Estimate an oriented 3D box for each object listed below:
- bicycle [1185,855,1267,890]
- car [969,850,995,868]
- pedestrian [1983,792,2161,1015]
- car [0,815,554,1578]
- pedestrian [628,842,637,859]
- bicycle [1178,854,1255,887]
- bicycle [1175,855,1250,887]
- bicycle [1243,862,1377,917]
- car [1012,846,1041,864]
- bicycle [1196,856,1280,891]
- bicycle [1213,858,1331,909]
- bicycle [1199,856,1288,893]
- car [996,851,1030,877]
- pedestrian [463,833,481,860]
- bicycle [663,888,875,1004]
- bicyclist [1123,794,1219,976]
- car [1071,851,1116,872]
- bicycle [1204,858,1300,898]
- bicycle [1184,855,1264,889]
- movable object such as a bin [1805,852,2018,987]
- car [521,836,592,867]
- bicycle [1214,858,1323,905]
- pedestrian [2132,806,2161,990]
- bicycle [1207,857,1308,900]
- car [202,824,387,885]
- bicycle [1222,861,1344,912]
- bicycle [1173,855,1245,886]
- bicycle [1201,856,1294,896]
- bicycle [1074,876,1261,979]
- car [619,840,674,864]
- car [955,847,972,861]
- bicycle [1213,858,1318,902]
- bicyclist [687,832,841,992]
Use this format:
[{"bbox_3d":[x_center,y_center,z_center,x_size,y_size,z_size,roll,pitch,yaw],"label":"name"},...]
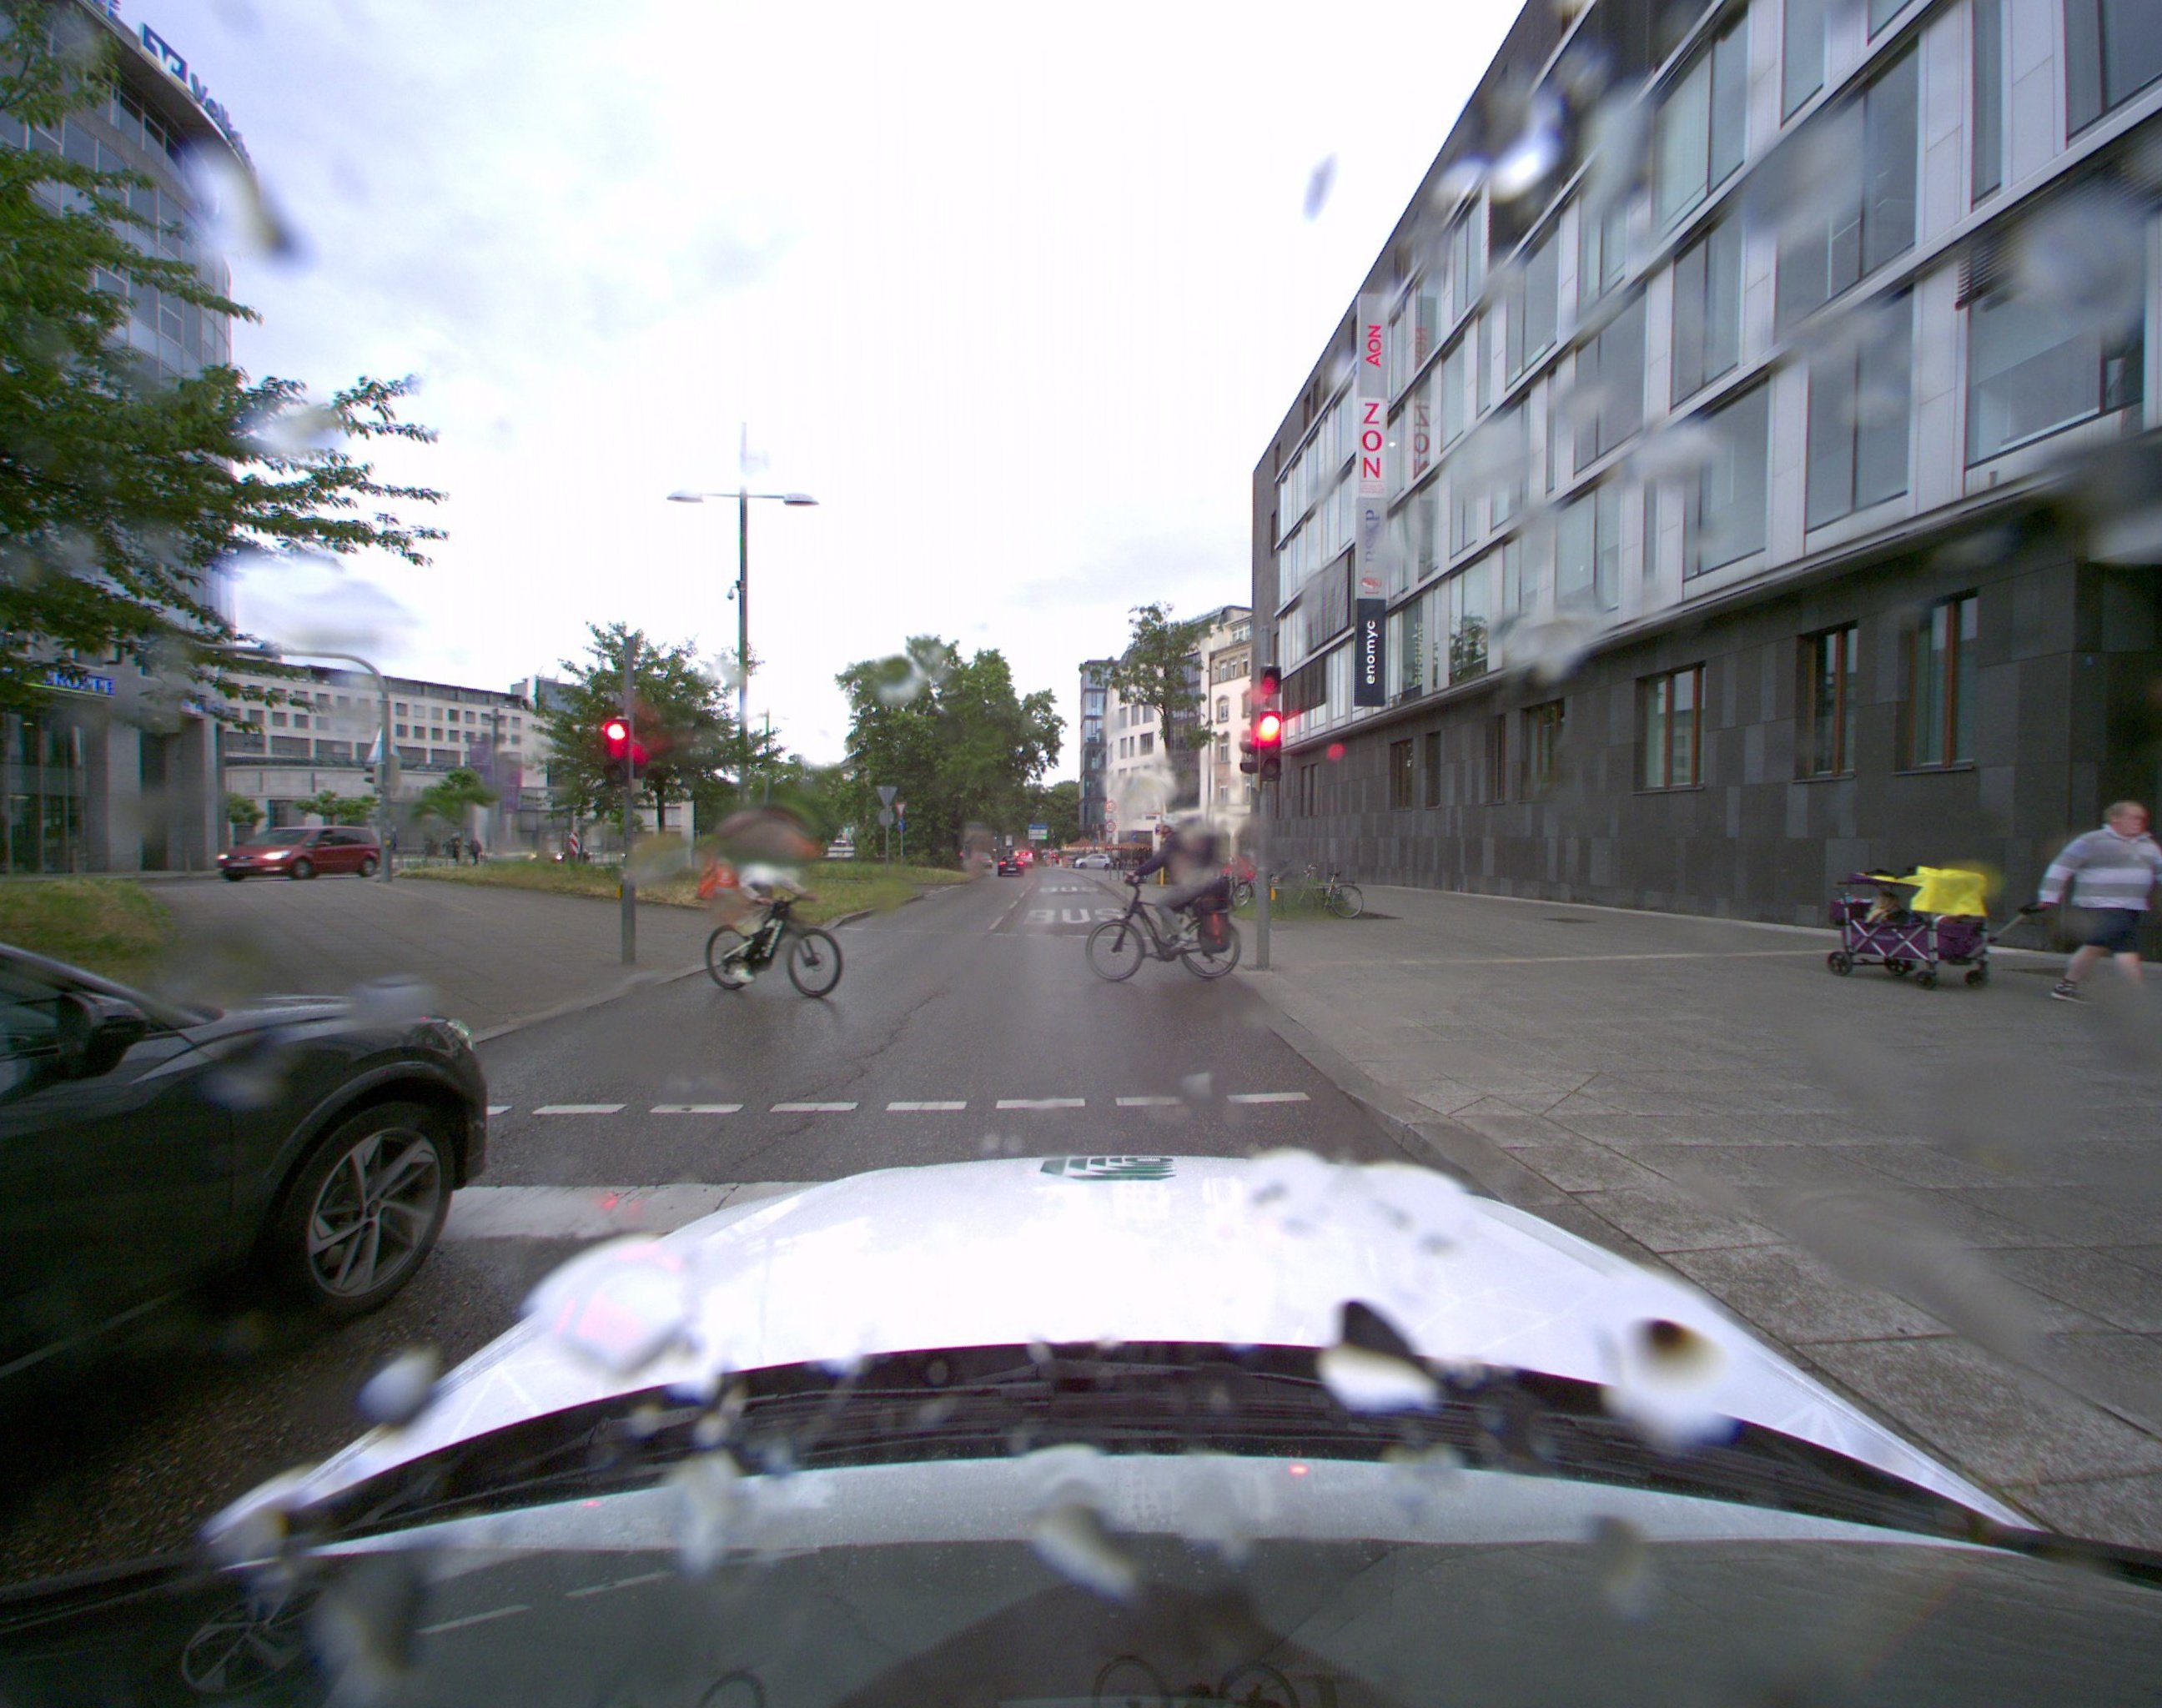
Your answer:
[{"bbox_3d":[4.712,0.602,26.479,2.530,1.087,0.677,-1,0,-3],"label":"bicycle"},{"bbox_3d":[-9.373,0.437,76.646,1.947,1.646,4.226,0,0,-13],"label":"car"},{"bbox_3d":[8.939,0.380,7.120,0.898,1.792,1.045,-2,0,-4],"label":"pedestrian"},{"bbox_3d":[-3.195,0.718,1.408,1.842,1.616,4.250,1,1,-1],"label":"car"},{"bbox_3d":[-52.187,-0.389,94.765,0.792,2.013,0.735,2,0,-22],"label":"pedestrian"},{"bbox_3d":[4.675,0.572,28.122,2.530,1.087,0.677,-1,0,-3],"label":"bicycle"},{"bbox_3d":[4.652,0.584,28.871,2.530,1.087,0.677,-1,0,-3],"label":"bicycle"},{"bbox_3d":[4.622,0.700,16.513,2.530,1.057,0.677,0,0,-3],"label":"bicycle"},{"bbox_3d":[-5.283,0.049,78.277,2.182,1.700,3.982,0,0,-14],"label":"car"},{"bbox_3d":[4.924,0.604,25.634,2.530,1.087,0.677,-1,0,-3],"label":"bicycle"},{"bbox_3d":[4.391,0.670,18.800,2.530,1.087,0.677,2,0,-3],"label":"bicycle"},{"bbox_3d":[4.905,0.607,24.656,2.530,1.087,0.677,-1,0,-3],"label":"bicycle"},{"bbox_3d":[-4.713,0.662,56.023,2.160,1.706,4.543,0,0,-7],"label":"car"},{"bbox_3d":[-39.845,-0.491,53.274,0.621,1.763,0.722,-2,0,-14],"label":"pedestrian"},{"bbox_3d":[-3.413,0.940,8.914,2.041,1.114,1.017,-1,-2,26],"label":"bicycle"},{"bbox_3d":[1.067,0.361,9.729,1.076,2.083,0.764,-1,-1,4],"label":"bicyclist"},{"bbox_3d":[1.141,0.655,76.723,3.978,1.647,1.998,4,0,-3],"label":"car"},{"bbox_3d":[4.717,0.642,22.553,2.530,1.060,0.677,-1,0,-3],"label":"bicycle"},{"bbox_3d":[4.771,0.585,27.231,2.530,1.087,0.677,-1,0,-3],"label":"bicycle"},{"bbox_3d":[8.653,0.631,8.576,0.729,1.264,1.444,-2,0,-1],"label":"movable object such as a bin"},{"bbox_3d":[-27.285,-0.151,42.512,1.806,1.486,3.983,2,0,-12],"label":"car"},{"bbox_3d":[4.588,0.669,20.022,2.530,1.087,0.677,-1,0,-3],"label":"bicycle"},{"bbox_3d":[10.318,0.395,7.147,0.716,1.690,1.099,-2,0,-4],"label":"pedestrian"},{"bbox_3d":[4.683,0.641,21.686,2.530,1.087,0.677,-1,0,-3],"label":"bicycle"},{"bbox_3d":[-24.292,-0.009,25.447,1.723,1.727,4.572,0,0,-7],"label":"car"},{"bbox_3d":[4.442,0.700,17.995,2.530,1.087,0.677,0,0,-3],"label":"bicycle"},{"bbox_3d":[4.639,0.592,29.594,2.530,1.087,0.627,-1,0,-3],"label":"bicycle"},{"bbox_3d":[4.775,0.625,23.461,2.530,1.087,0.677,-1,0,-3],"label":"bicycle"},{"bbox_3d":[1.015,0.858,9.728,2.116,1.145,0.764,-1,0,4],"label":"bicycle"},{"bbox_3d":[-29.613,-0.130,55.639,1.803,1.486,4.372,2,0,-8],"label":"car"},{"bbox_3d":[-14.197,-0.028,98.262,1.944,1.646,3.988,0,0,-9],"label":"car"},{"bbox_3d":[4.714,0.647,20.875,2.530,1.087,0.677,-1,0,-3],"label":"bicycle"},{"bbox_3d":[-3.465,0.593,8.950,1.122,1.582,1.021,2,0,26],"label":"bicyclist"}]
